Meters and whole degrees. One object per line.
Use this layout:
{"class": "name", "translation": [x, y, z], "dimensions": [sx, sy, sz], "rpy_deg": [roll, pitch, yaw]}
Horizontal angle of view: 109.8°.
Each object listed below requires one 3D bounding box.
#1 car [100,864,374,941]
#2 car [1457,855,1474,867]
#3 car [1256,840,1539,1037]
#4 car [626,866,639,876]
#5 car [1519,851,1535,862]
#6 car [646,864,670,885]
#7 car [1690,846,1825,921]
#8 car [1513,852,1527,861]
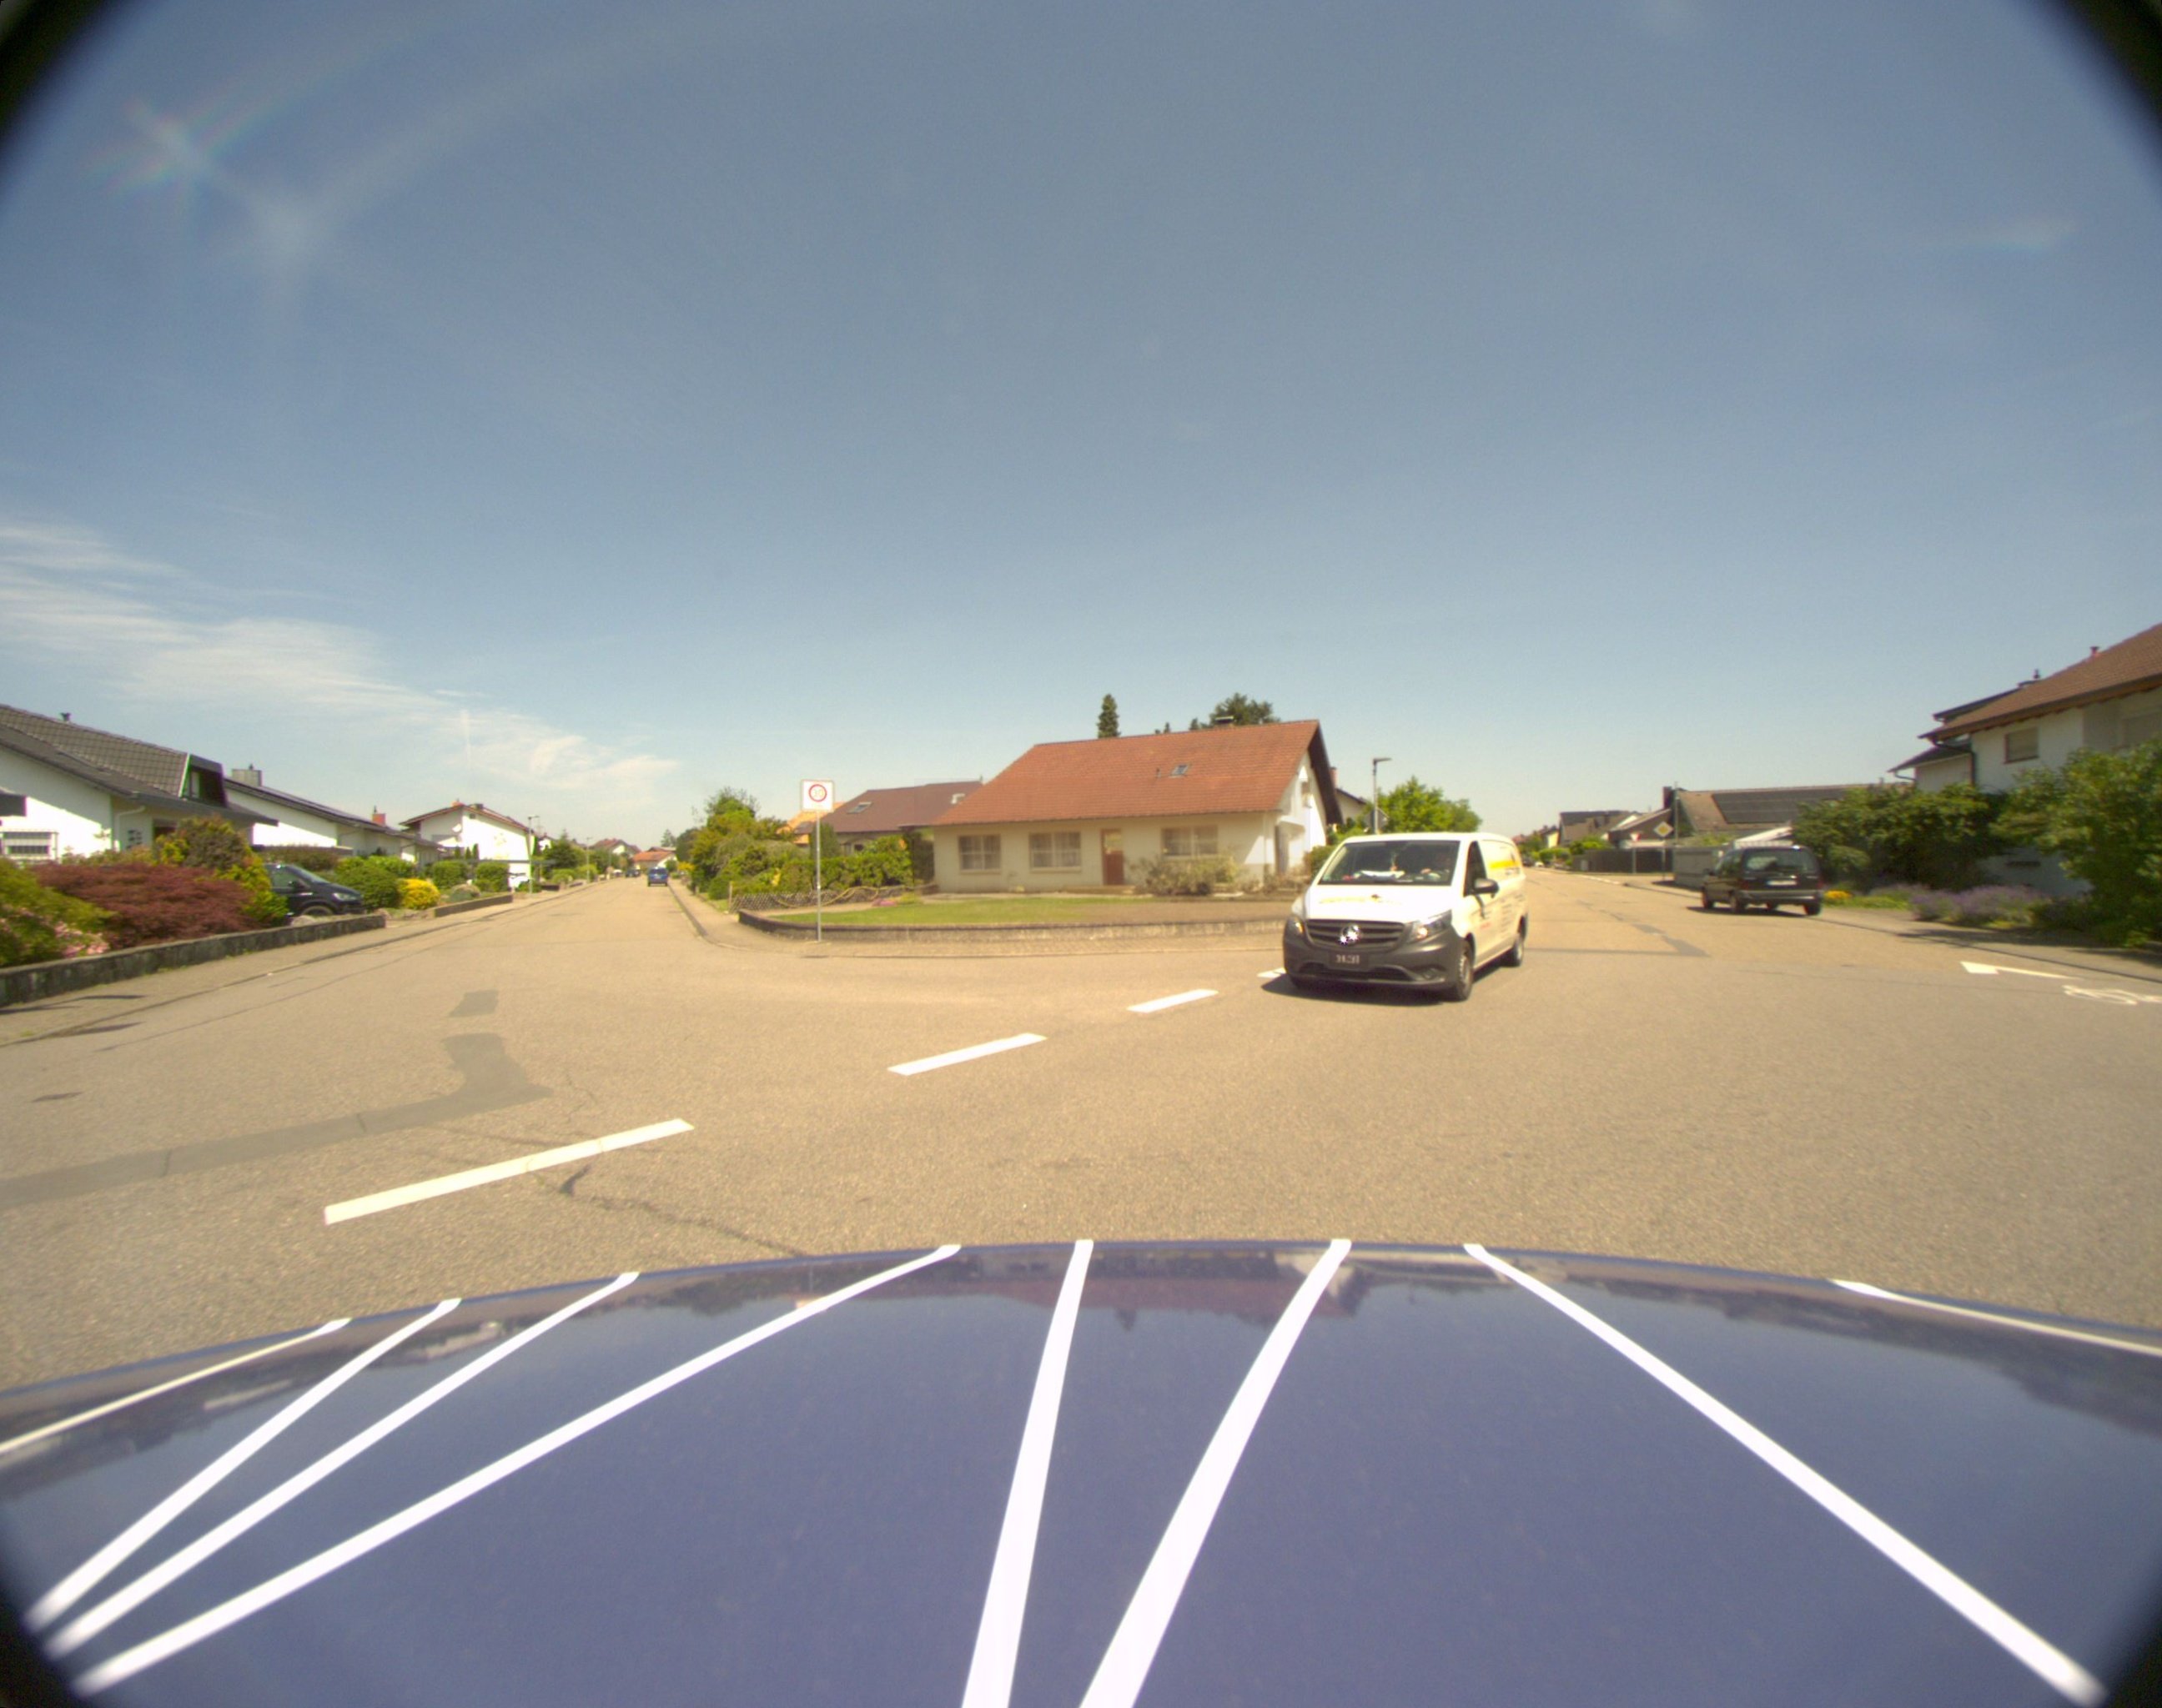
{"class": "car", "translation": [-24.043, 1.306, 22.012], "dimensions": [4.976, 1.904, 1.923], "rpy_deg": [-1, 0, -36]}
{"class": "car", "translation": [56.154, 1.000, 111.017], "dimensions": [1.995, 1.586, 4.007], "rpy_deg": [-1, 0, 29]}
{"class": "car", "translation": [4.303, 0.765, 9.714], "dimensions": [2.014, 1.845, 5.078], "rpy_deg": [-1, 1, 38]}
{"class": "car", "translation": [-89.624, 3.344, 151.777], "dimensions": [1.879, 1.914, 3.990], "rpy_deg": [-1, 0, -33]}
{"class": "car", "translation": [63.964, 0.372, 109.049], "dimensions": [1.995, 1.586, 4.007], "rpy_deg": [-1, 0, 30]}
{"class": "car", "translation": [-40.300, 1.957, 72.413], "dimensions": [1.831, 1.871, 3.991], "rpy_deg": [-1, 0, -28]}
{"class": "car", "translation": [18.372, 0.723, 20.849], "dimensions": [1.719, 1.835, 4.061], "rpy_deg": [-1, 0, 26]}
{"class": "car", "translation": [71.238, 0.461, 123.353], "dimensions": [1.995, 1.390, 4.007], "rpy_deg": [-1, 0, 30]}
